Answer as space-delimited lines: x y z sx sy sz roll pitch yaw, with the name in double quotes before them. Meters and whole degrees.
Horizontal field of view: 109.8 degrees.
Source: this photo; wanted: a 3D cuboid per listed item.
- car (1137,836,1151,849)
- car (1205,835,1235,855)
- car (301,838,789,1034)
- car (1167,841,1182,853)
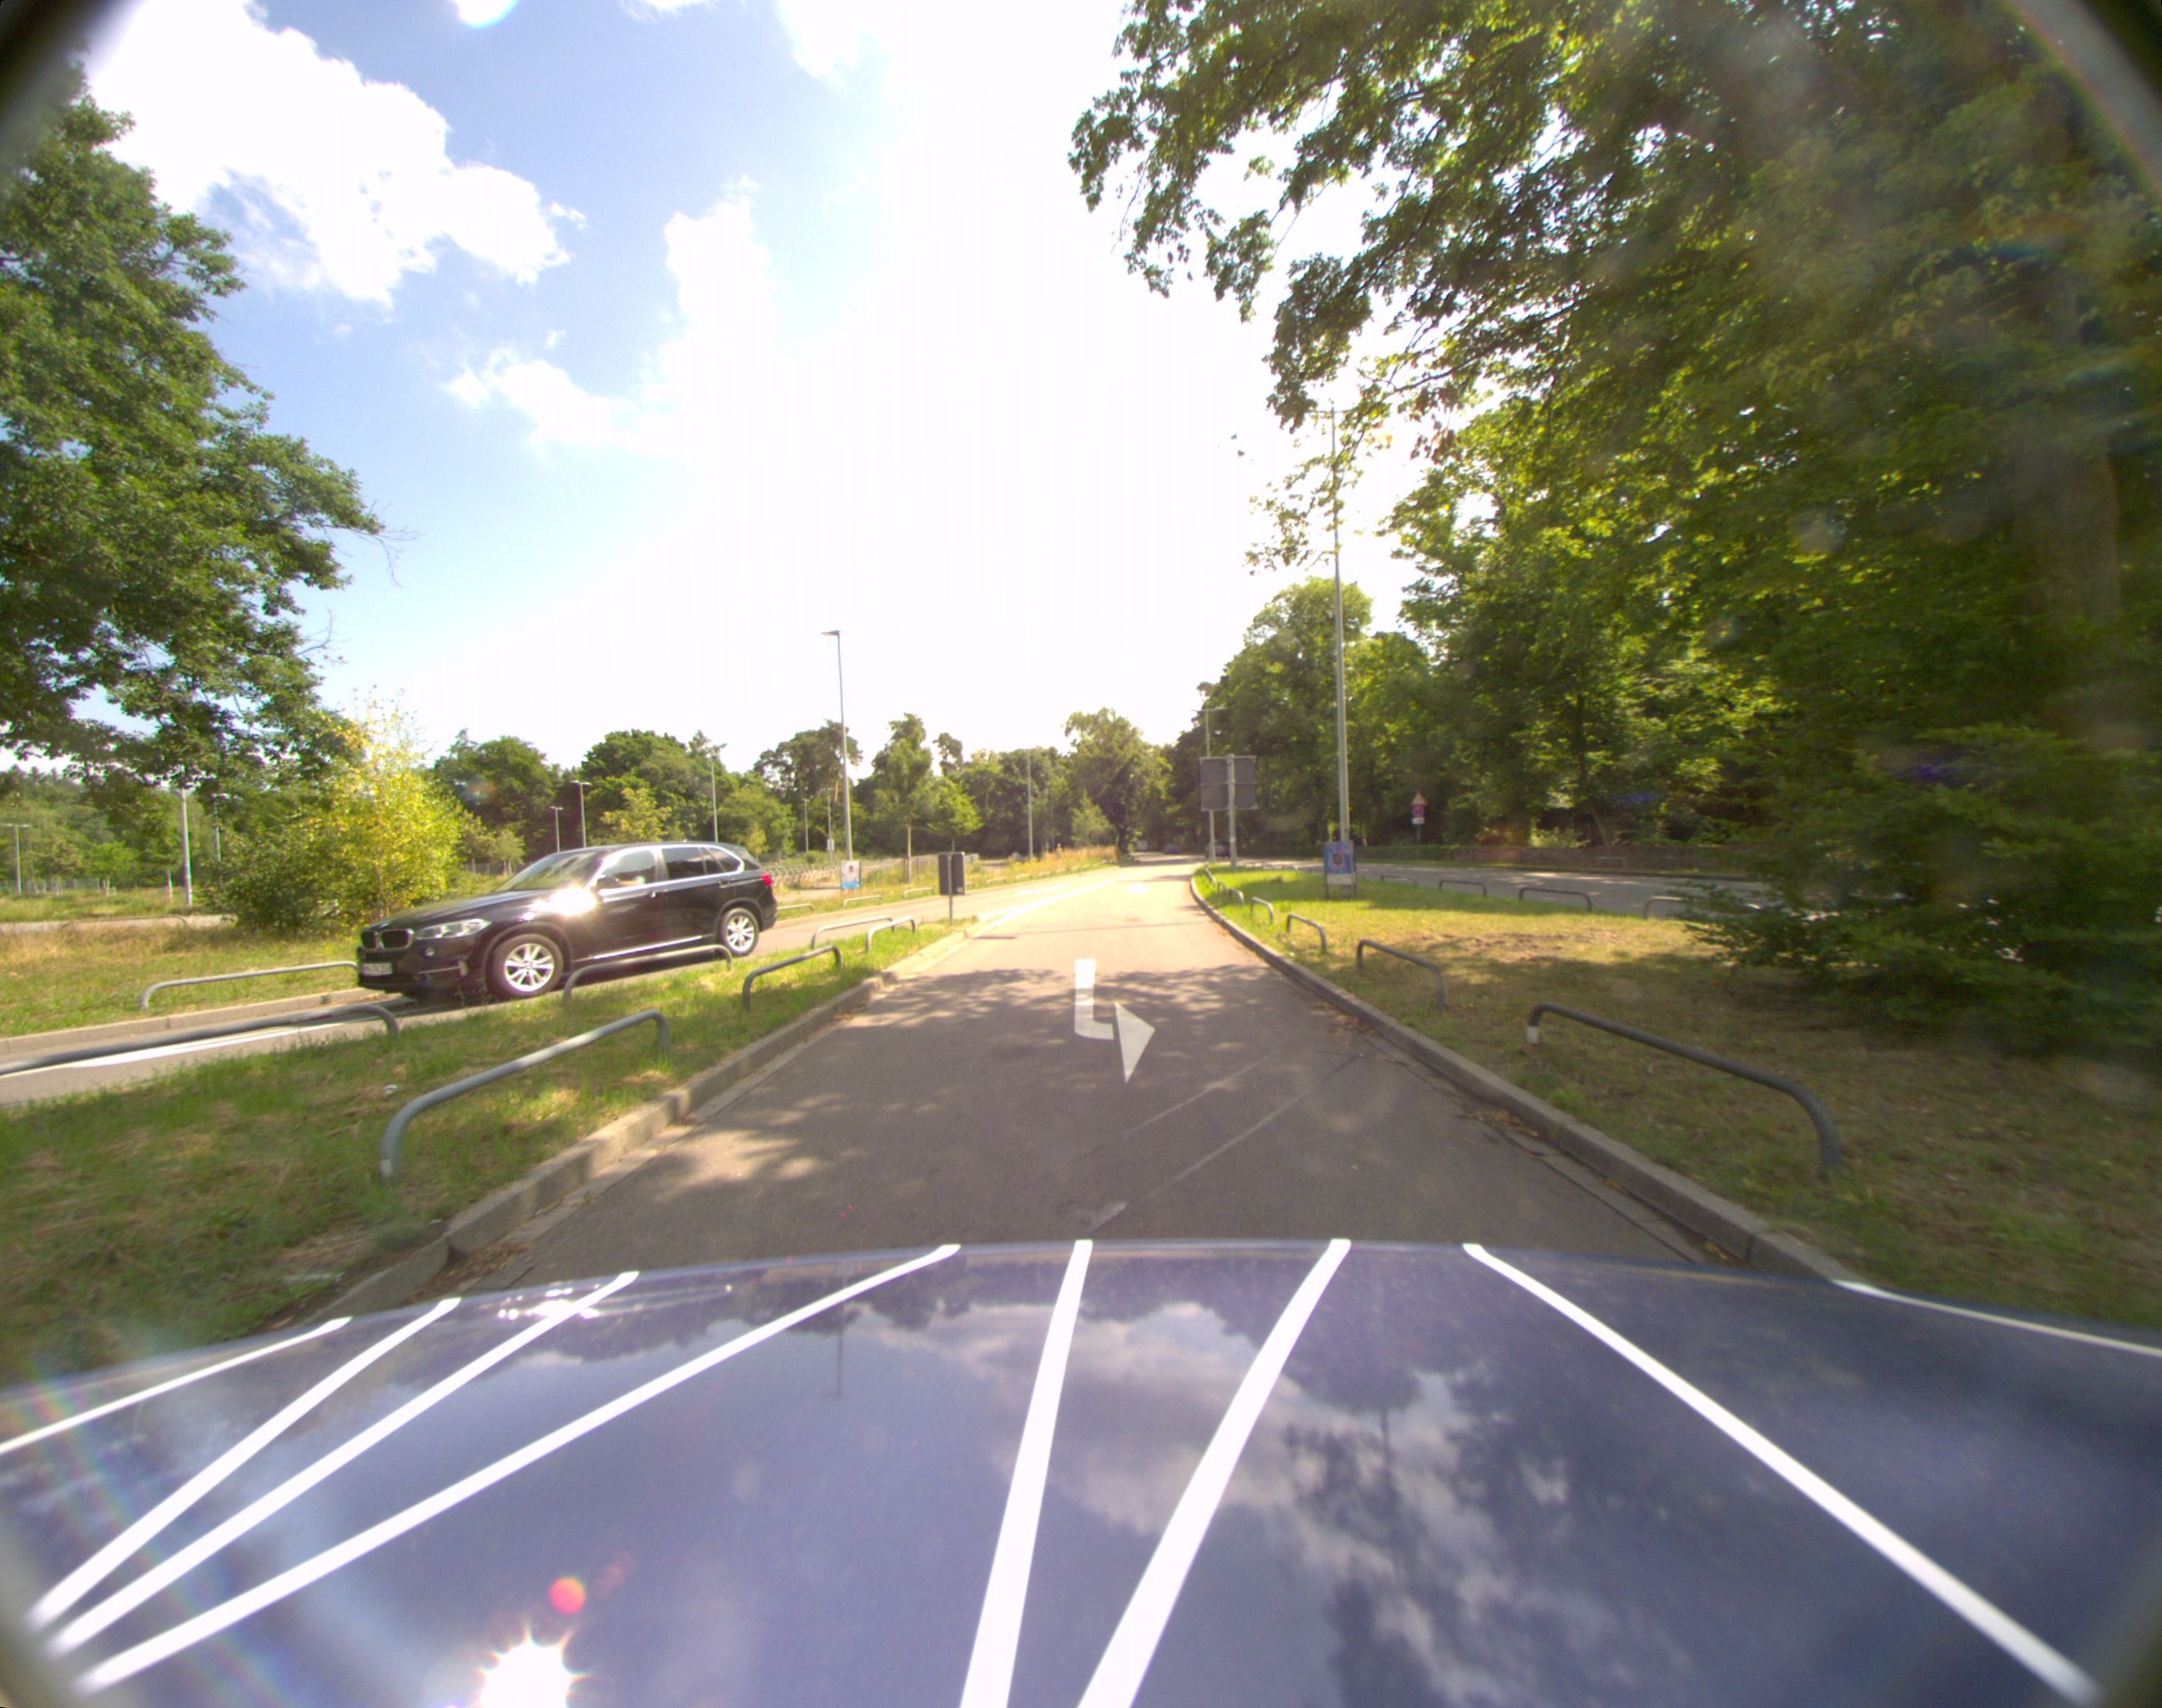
"car" 12.646 -2.419 152.362 1.980 2.417 5.360 -4 2 -1
"car" 12.407 -0.787 67.887 1.765 1.620 4.298 -4 1 -1
"car" -6.337 0.809 9.832 1.977 1.755 4.713 -4 1 22
"car" 12.735 -0.943 103.661 1.698 1.438 4.066 -3 2 4
